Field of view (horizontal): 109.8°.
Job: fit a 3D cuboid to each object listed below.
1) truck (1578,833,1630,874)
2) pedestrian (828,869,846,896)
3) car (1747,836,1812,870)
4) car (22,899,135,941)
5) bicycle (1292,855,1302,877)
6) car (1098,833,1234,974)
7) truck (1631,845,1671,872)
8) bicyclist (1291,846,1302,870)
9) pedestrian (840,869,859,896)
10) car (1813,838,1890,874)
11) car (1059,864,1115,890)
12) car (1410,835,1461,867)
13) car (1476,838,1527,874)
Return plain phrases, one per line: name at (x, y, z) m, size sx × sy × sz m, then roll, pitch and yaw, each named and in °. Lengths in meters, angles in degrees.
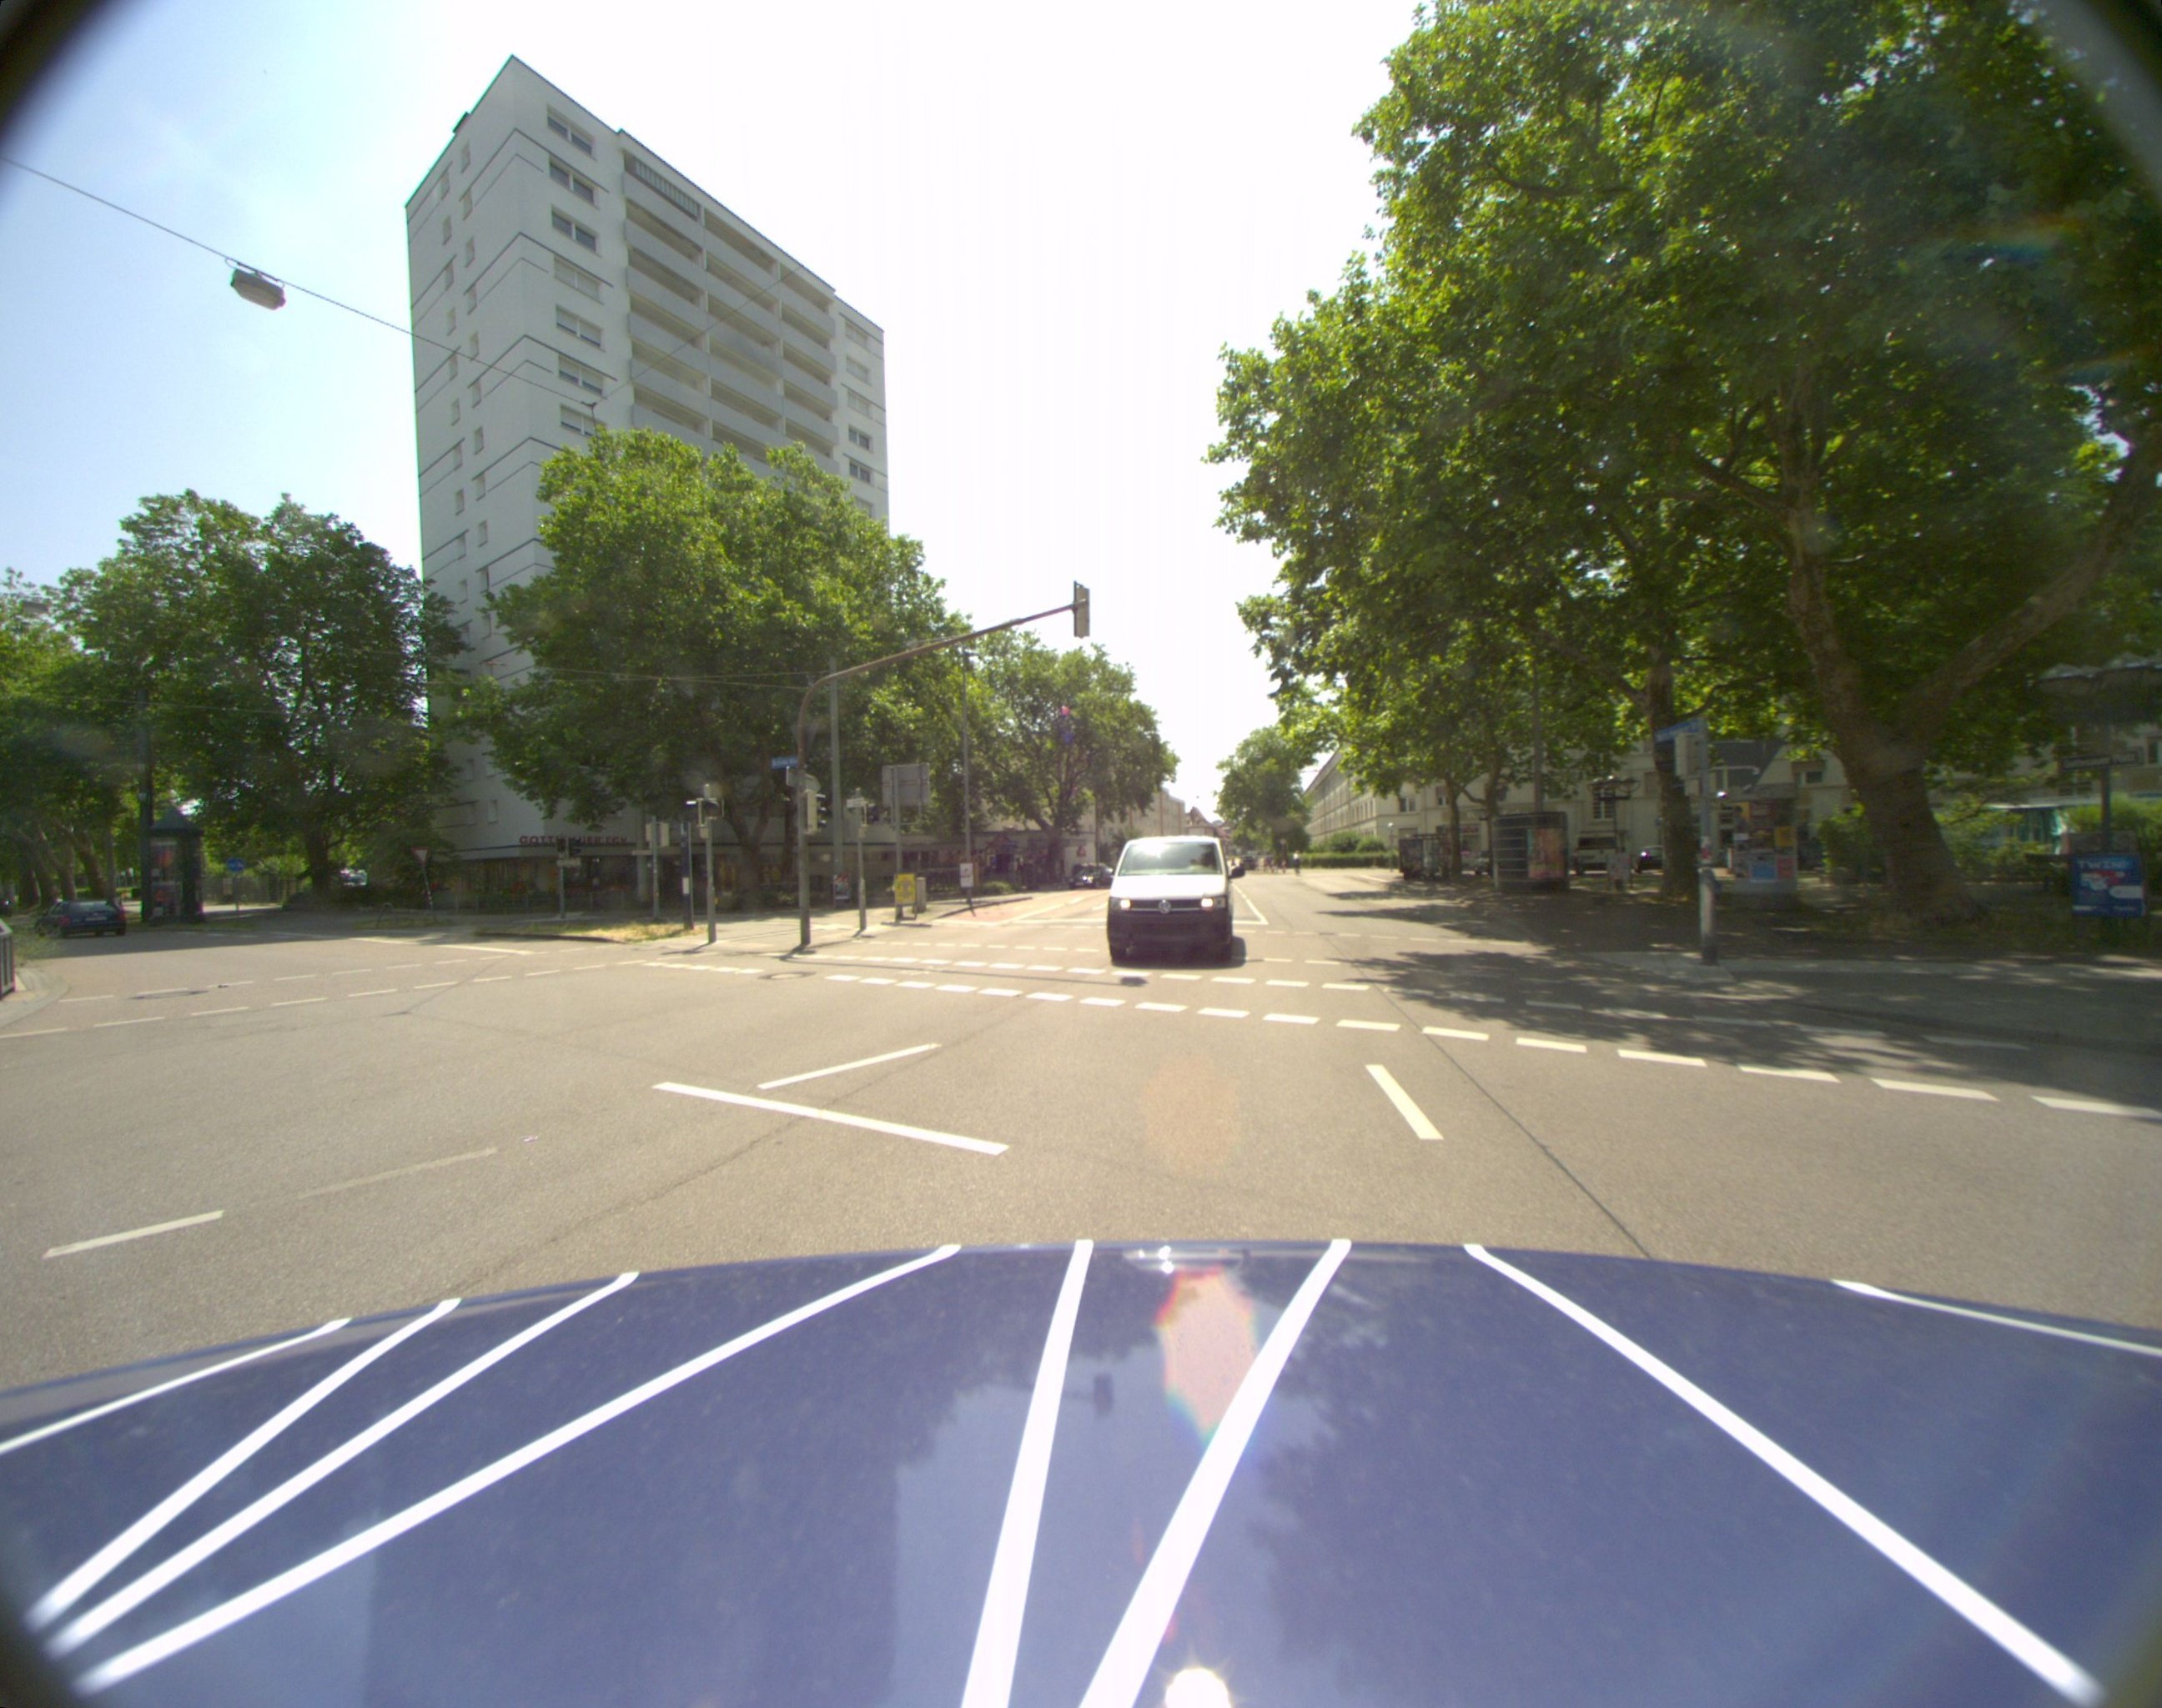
truck at (29.221, -0.071, 42.401) m, size 1.960 × 2.110 × 4.381 m, roll -1°, pitch 1°, yaw 40°
pedestrian at (-12.790, 1.504, 39.823) m, size 0.592 × 1.357 × 0.641 m, roll -2°, pitch 1°, yaw 28°
car at (35.381, -0.060, 38.598) m, size 1.929 × 1.591 × 4.008 m, roll -2°, pitch 0°, yaw 35°
car at (-37.129, 2.443, 28.155) m, size 3.386 × 1.387 × 1.484 m, roll -2°, pitch 0°, yaw 18°
bicycle at (15.878, 0.882, 55.908) m, size 0.596 × 1.546 × 1.845 m, roll -2°, pitch 1°, yaw 18°
car at (1.619, 0.773, 13.134) m, size 1.851 × 1.941 × 4.948 m, roll -2°, pitch -2°, yaw 10°
truck at (30.802, 0.229, 41.107) m, size 1.465 × 1.369 × 2.987 m, roll -1°, pitch 1°, yaw 32°
bicyclist at (15.867, 0.313, 55.958) m, size 0.704 × 1.725 × 0.788 m, roll -2°, pitch 1°, yaw 19°
pedestrian at (-11.955, 1.480, 39.285) m, size 0.592 × 1.357 × 0.641 m, roll -2°, pitch 1°, yaw 28°
car at (37.047, 0.066, 36.646) m, size 1.929 × 1.591 × 4.008 m, roll -2°, pitch 0°, yaw 35°
car at (0.420, 1.361, 45.544) m, size 1.798 × 1.338 × 3.800 m, roll -2°, pitch 1°, yaw 27°
car at (22.017, -0.196, 47.158) m, size 1.994 × 1.888 × 4.008 m, roll -2°, pitch 0°, yaw 38°
car at (25.047, 0.083, 45.205) m, size 1.994 × 2.002 × 4.007 m, roll -1°, pitch 1°, yaw 38°
